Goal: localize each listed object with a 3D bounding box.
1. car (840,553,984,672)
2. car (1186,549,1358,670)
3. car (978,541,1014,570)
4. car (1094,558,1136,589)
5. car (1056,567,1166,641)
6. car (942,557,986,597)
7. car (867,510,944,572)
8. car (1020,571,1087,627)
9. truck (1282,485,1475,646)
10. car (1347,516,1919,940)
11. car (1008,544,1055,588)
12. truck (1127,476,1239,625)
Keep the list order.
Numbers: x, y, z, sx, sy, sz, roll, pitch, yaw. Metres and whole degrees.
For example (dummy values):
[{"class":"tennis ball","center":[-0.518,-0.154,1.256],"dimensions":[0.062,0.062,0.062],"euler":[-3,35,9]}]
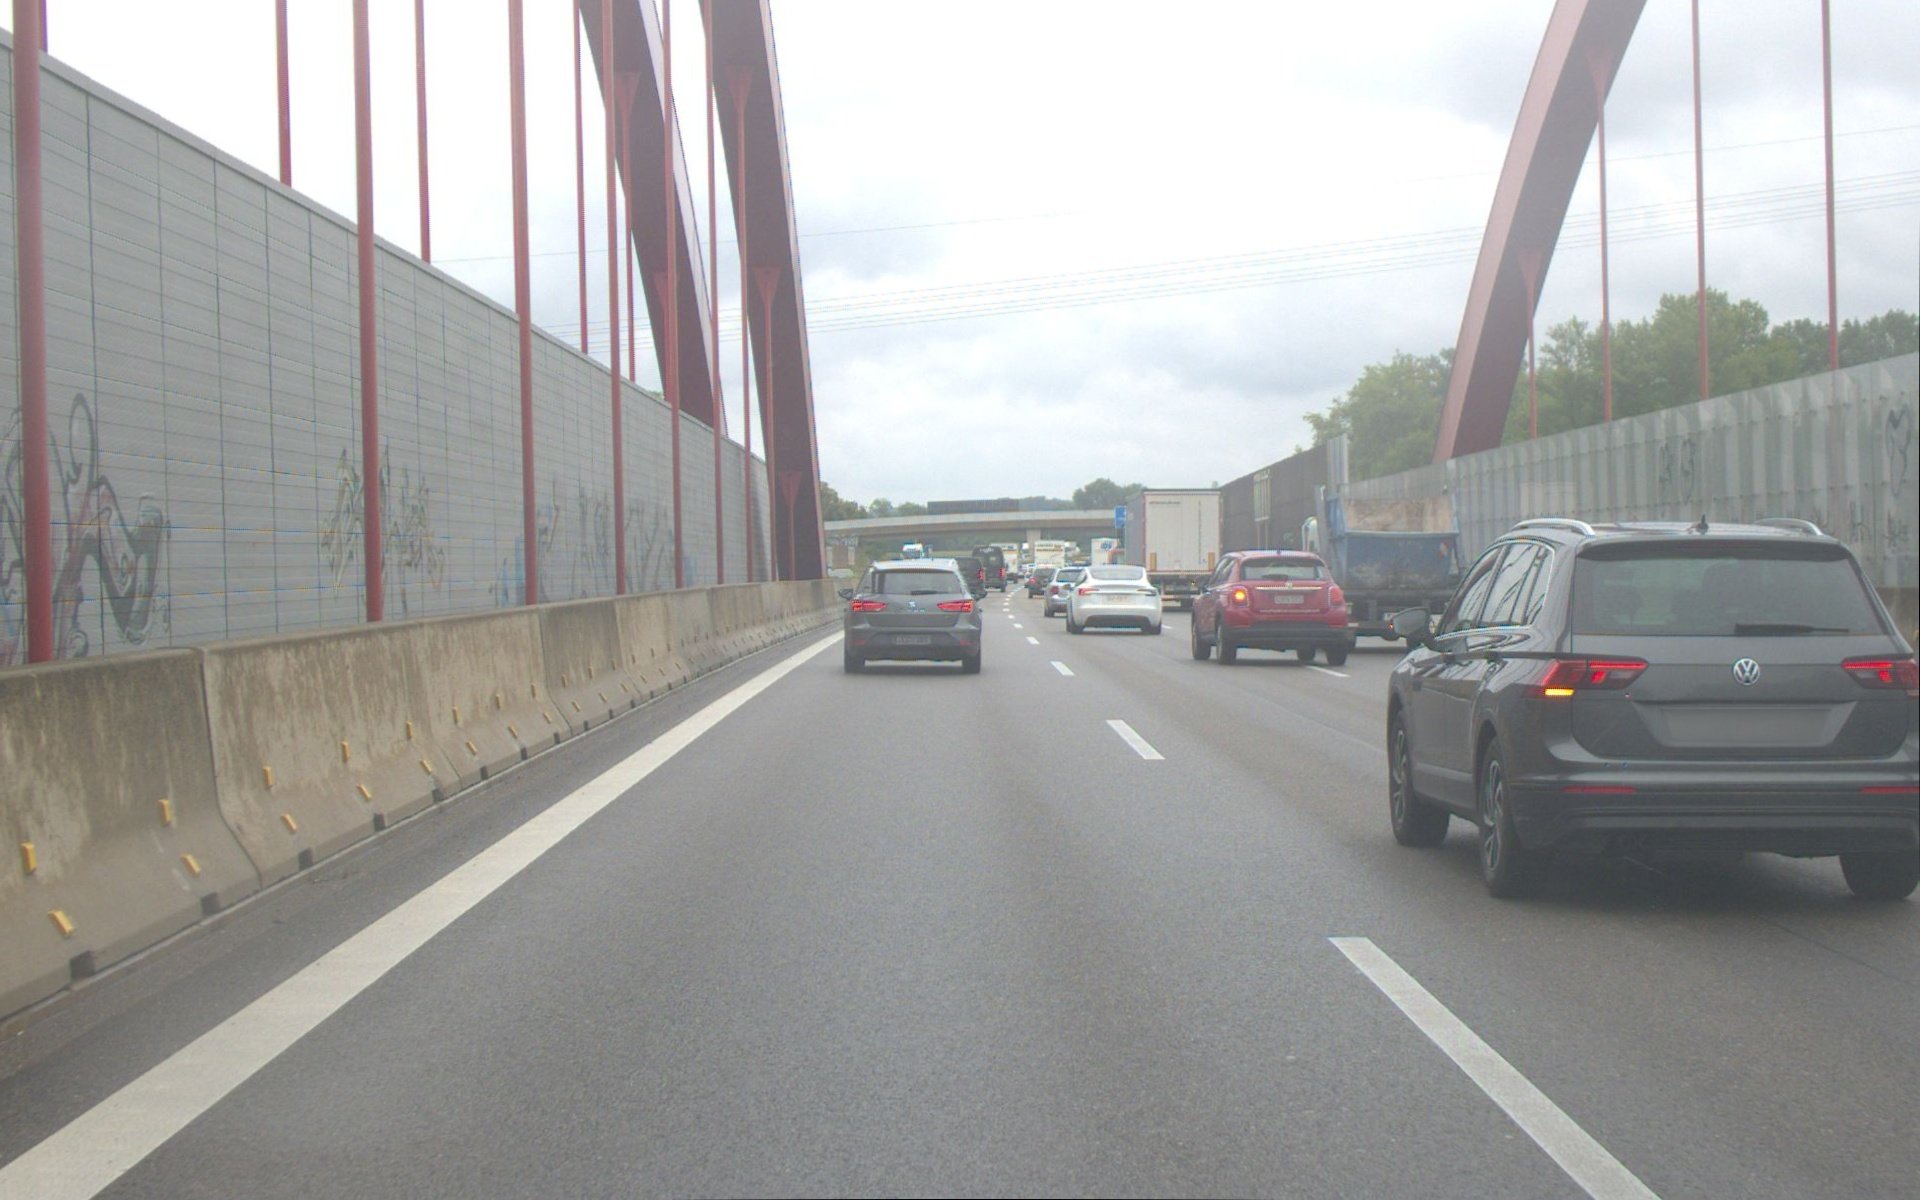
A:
[{"class":"car","center":[-0.601,0.128,44.236],"dimensions":[1.764,1.448,4.000],"euler":[0,1,0]},{"class":"car","center":[4.379,0.098,48.792],"dimensions":[1.957,1.641,4.000],"euler":[0,1,-1]},{"class":"car","center":[2.031,-2.505,194.587],"dimensions":[1.993,1.618,4.000],"euler":[0,1,1]},{"class":"car","center":[7.801,-1.348,173.168],"dimensions":[1.993,1.514,4.000],"euler":[0,1,0]},{"class":"car","center":[3.099,0.063,71.187],"dimensions":[1.993,1.481,4.000],"euler":[0,1,-1]},{"class":"car","center":[0.162,-1.054,158.967],"dimensions":[1.993,1.809,4.000],"euler":[0,1,-1]},{"class":"car","center":[-1.488,-1.586,92.340],"dimensions":[1.993,1.579,4.000],"euler":[-1,1,-2]},{"class":"car","center":[2.665,-0.048,98.450],"dimensions":[1.702,1.538,3.839],"euler":[0,1,-1]},{"class":"truck","center":[6.811,-0.578,56.629],"dimensions":[2.361,2.498,6.144],"euler":[0,1,-1]},{"class":"car","center":[3.037,0.479,15.591],"dimensions":[1.911,1.664,4.104],"euler":[0,1,-3]},{"class":"car","center":[3.262,-1.563,158.185],"dimensions":[1.993,2.007,4.000],"euler":[1,1,-1]},{"class":"truck","center":[7.341,-1.627,114.058],"dimensions":[3.044,4.718,7.680],"euler":[1,1,-1]}]
